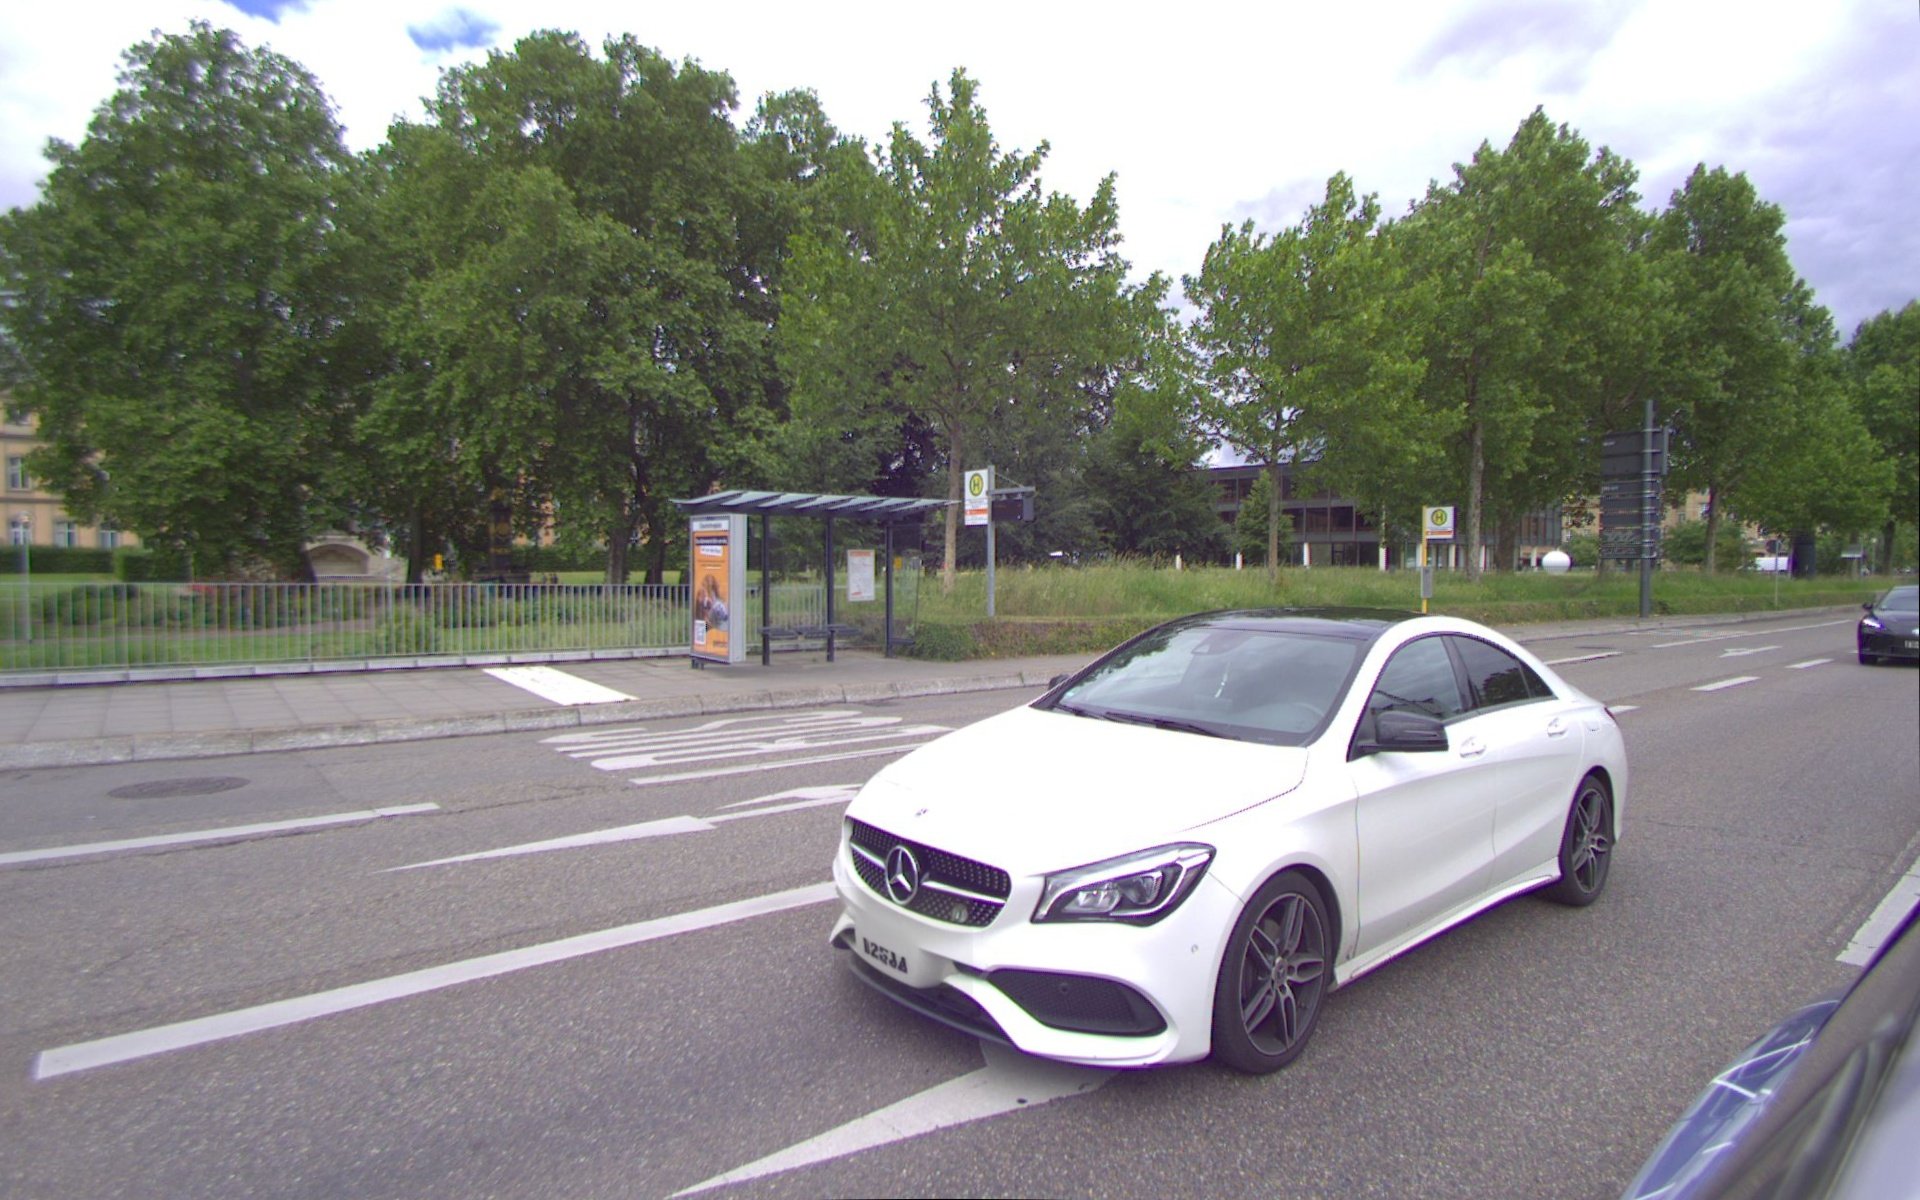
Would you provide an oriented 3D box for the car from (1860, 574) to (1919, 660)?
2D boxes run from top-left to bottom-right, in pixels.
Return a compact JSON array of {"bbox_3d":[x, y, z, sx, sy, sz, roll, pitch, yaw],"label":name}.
[{"bbox_3d":[18.558,0.273,19.044,4.020,1.508,1.852,-1,2,-40],"label":"car"}]

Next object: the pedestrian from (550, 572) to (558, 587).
[{"bbox_3d":[-35.416,-1.790,88.360,0.401,1.347,0.465,-1,0,21],"label":"pedestrian"}]

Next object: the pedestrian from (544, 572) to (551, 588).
[{"bbox_3d":[-36.177,-1.774,88.758,0.401,1.347,0.465,-1,0,21],"label":"pedestrian"}]

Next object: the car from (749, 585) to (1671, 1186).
[{"bbox_3d":[1.466,0.680,4.630,4.446,1.437,1.799,-1,2,-39],"label":"car"}]

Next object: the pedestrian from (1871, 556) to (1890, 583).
[{"bbox_3d":[70.642,-2.372,77.660,1.160,2.039,0.891,-2,0,-40],"label":"pedestrian"}]

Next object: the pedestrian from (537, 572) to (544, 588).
[{"bbox_3d":[-36.924,-1.757,89.088,0.401,1.347,0.465,-1,0,21],"label":"pedestrian"}]
